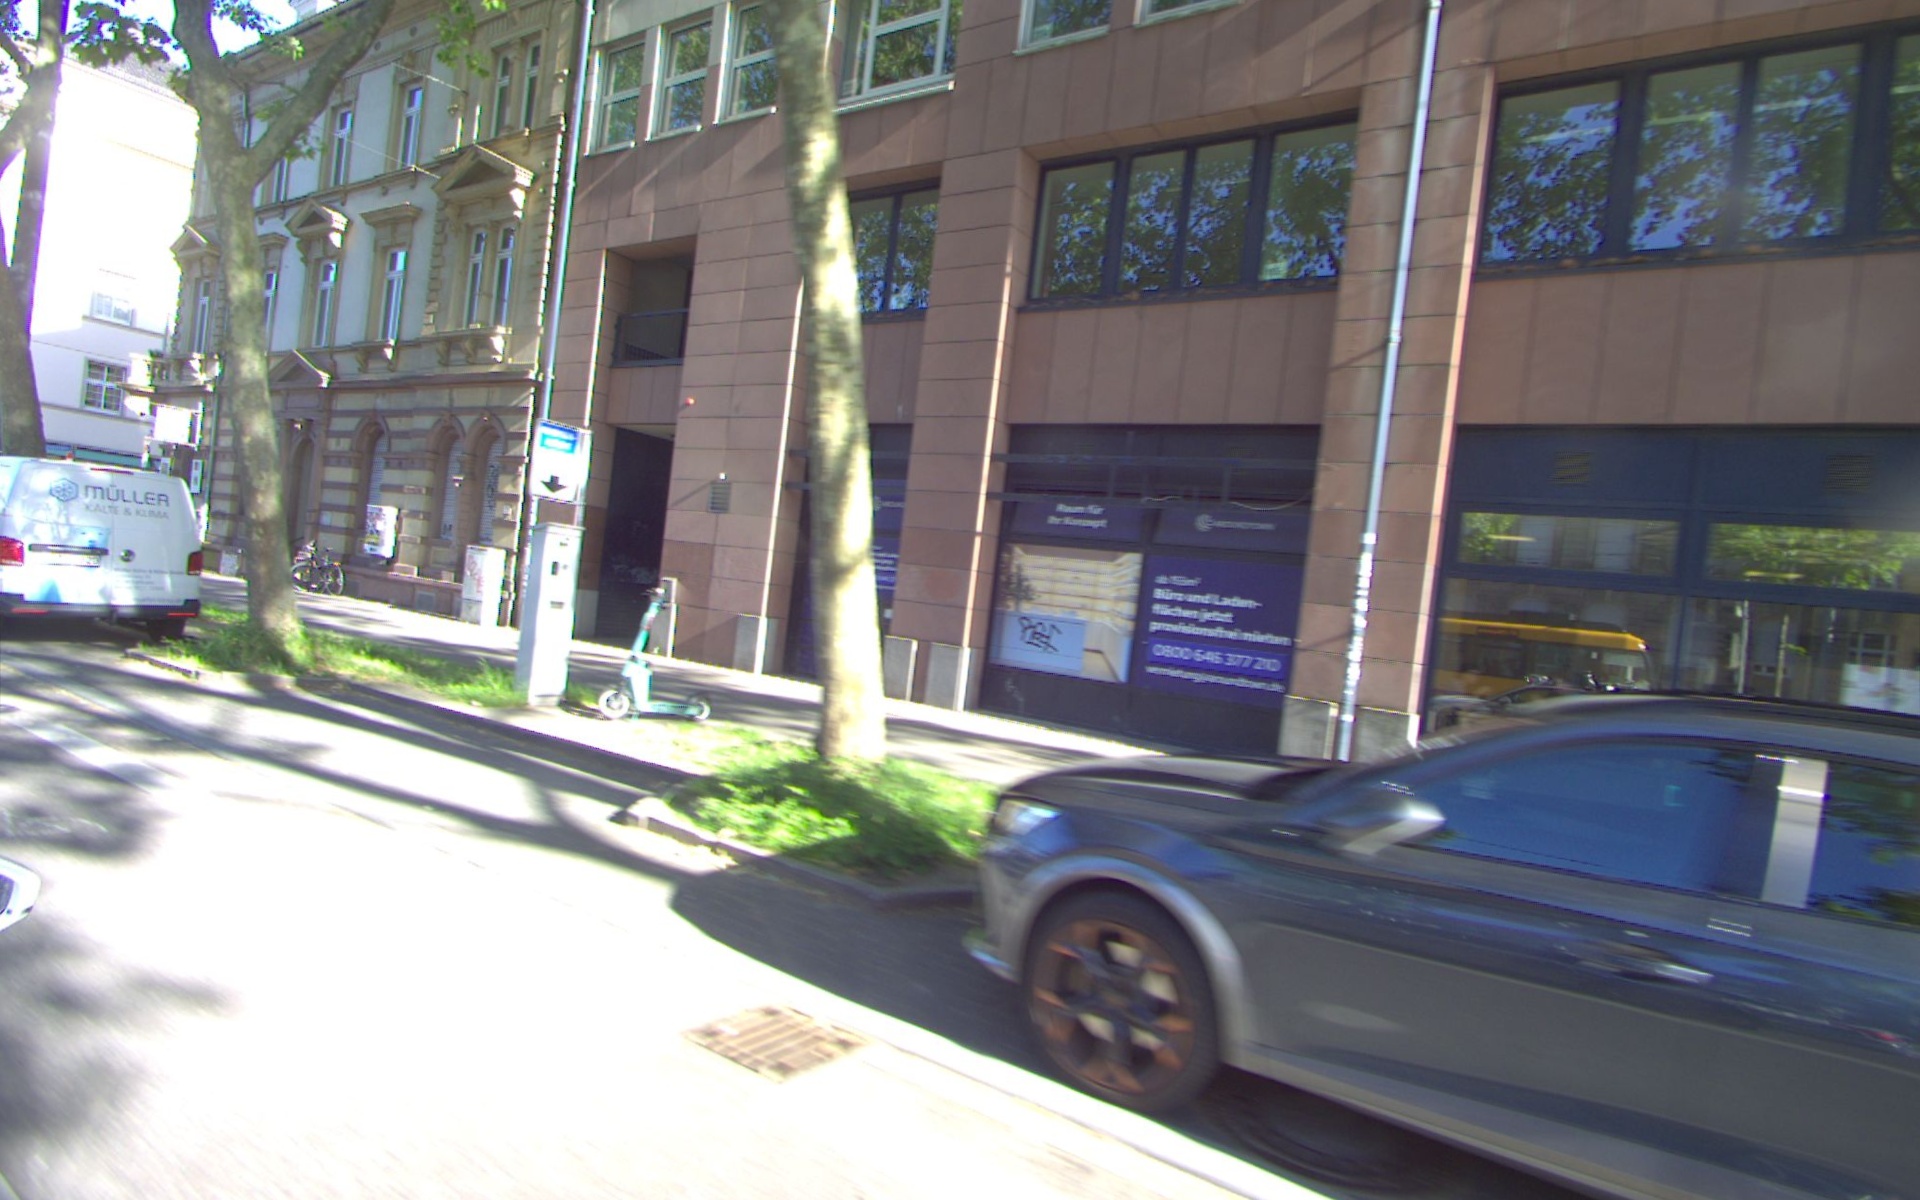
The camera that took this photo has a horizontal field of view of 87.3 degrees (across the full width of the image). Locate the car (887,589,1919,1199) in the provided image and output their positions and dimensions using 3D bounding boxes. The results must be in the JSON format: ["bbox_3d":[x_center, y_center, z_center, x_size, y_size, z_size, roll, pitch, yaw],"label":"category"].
[{"bbox_3d":[1.982,0.957,3.248,4.212,1.591,1.667,6,2,34],"label":"car"}]

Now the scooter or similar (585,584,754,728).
[{"bbox_3d":[-2.762,0.562,9.711,0.441,1.252,1.542,7,-1,33],"label":"scooter or similar"}]

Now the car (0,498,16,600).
[{"bbox_3d":[-16.847,-1.008,15.837,4.632,1.534,1.819,6,1,33],"label":"car"}]

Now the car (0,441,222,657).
[{"bbox_3d":[-11.018,-0.662,11.997,4.647,2.037,1.860,6,-2,33],"label":"car"}]

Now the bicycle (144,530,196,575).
[{"bbox_3d":[-20.726,-1.247,26.379,1.852,1.009,0.415,6,-1,33],"label":"bicycle"}]

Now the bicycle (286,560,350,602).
[{"bbox_3d":[-14.468,-0.433,22.667,1.635,0.783,0.549,6,1,32],"label":"bicycle"}]
